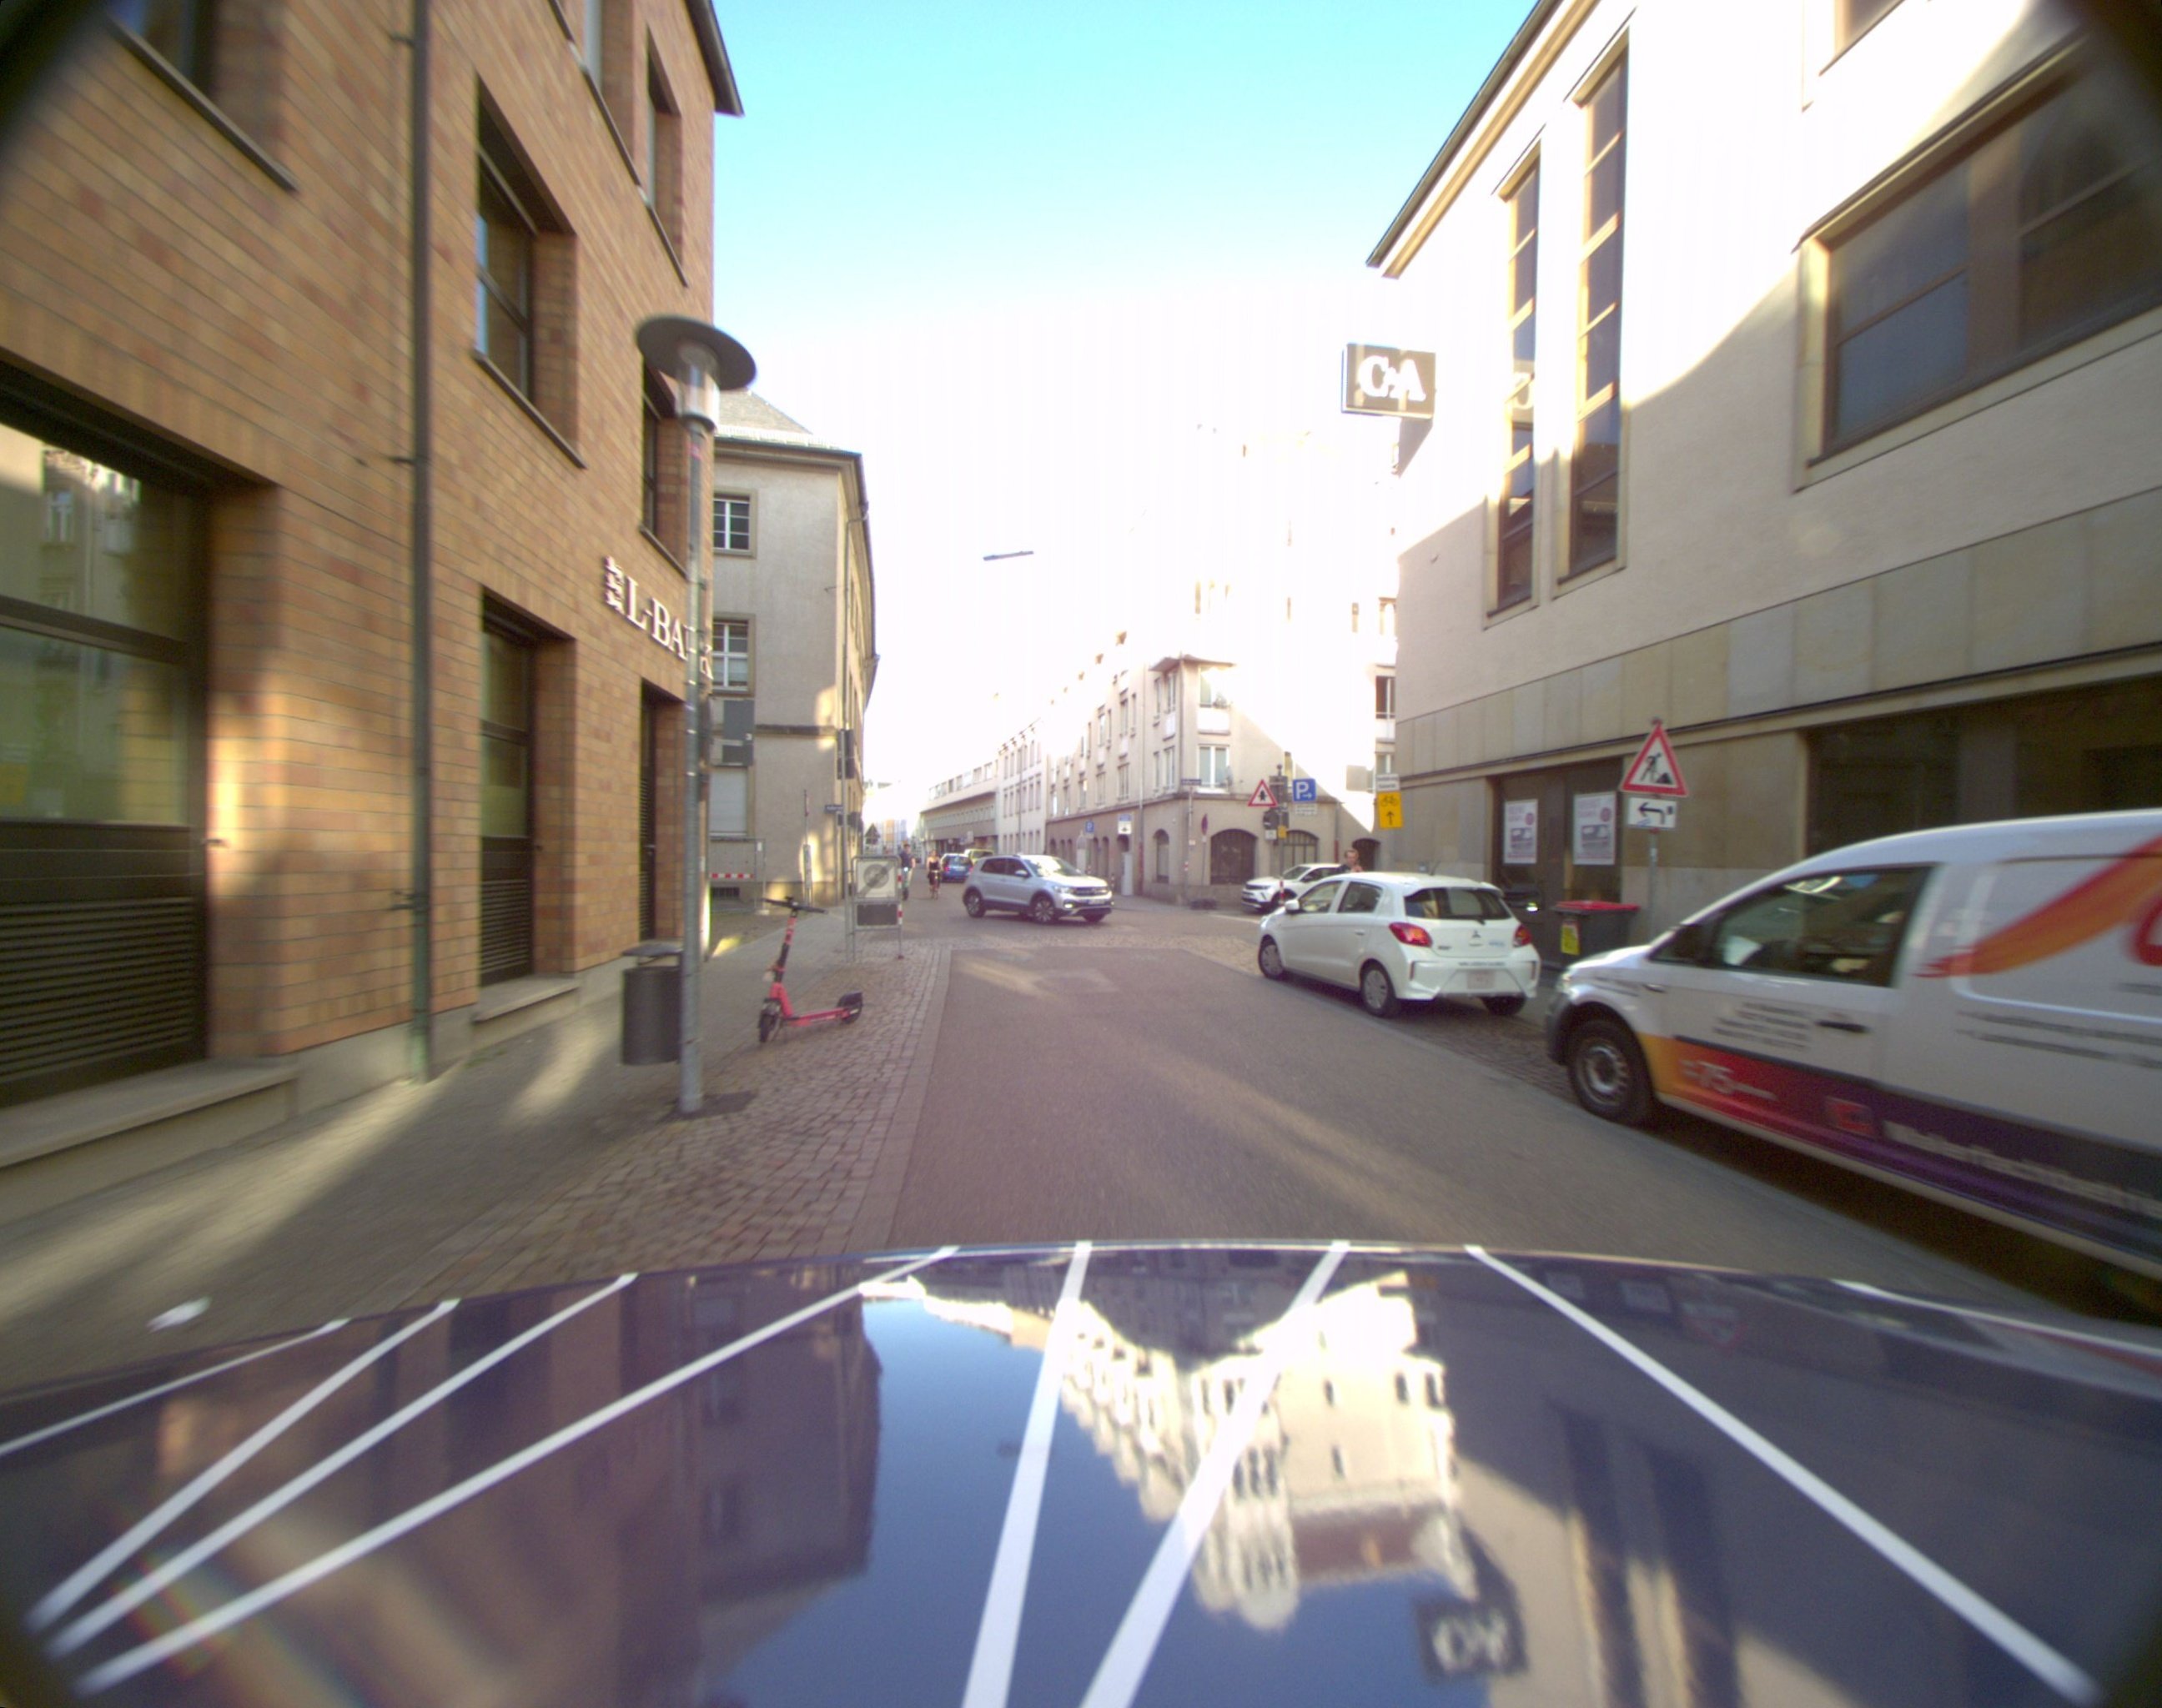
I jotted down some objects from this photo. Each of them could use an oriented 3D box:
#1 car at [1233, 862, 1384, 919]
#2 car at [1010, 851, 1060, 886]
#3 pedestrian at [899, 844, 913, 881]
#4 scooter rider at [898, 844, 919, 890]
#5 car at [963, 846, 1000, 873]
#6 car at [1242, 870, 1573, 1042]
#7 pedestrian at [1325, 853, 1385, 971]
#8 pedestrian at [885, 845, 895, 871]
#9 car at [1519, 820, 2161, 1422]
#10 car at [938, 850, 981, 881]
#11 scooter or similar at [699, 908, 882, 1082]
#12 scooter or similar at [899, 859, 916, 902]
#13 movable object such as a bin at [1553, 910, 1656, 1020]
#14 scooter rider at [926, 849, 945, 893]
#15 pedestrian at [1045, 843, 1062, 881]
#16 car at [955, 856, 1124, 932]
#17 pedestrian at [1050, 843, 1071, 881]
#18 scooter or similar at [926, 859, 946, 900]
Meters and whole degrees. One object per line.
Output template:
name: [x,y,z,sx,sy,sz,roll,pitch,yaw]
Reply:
car: [6.789,1.077,22.924,3.969,1.584,1.742,1,1,-7]
car: [-2.423,0.701,38.950,1.890,1.694,3.995,1,0,-13]
pedestrian: [-9.700,0.471,42.109,0.716,2.002,0.698,1,1,-16]
scooter rider: [-5.973,0.441,26.329,0.648,1.585,0.599,-2,2,-15]
car: [-7.184,0.349,54.504,1.891,1.863,3.993,-1,1,-18]
car: [3.520,1.016,9.063,1.743,1.483,3.795,2,0,-11]
pedestrian: [4.520,0.922,12.575,0.715,1.844,0.862,2,2,10]
pedestrian: [-14.776,0.303,58.653,0.716,2.002,0.698,1,1,-16]
car: [4.221,0.835,2.986,1.905,1.847,4.731,1,0,-6]
car: [-6.718,0.658,41.619,1.858,1.583,3.801,1,-1,-16]
scooter or similar: [-2.454,1.134,6.558,0.537,1.228,1.422,0,0,33]
scooter or similar: [-5.971,0.896,26.111,0.524,1.388,1.553,1,1,-15]
movable object such as a bin: [5.789,1.203,8.427,0.739,1.094,0.590,-2,2,-10]
scooter rider: [-5.137,0.600,26.767,0.592,1.500,0.599,-2,2,-15]
pedestrian: [-1.472,0.406,40.398,0.716,2.002,0.698,1,1,-16]
car: [-1.076,0.851,18.061,3.988,1.537,1.768,1,1,45]
pedestrian: [-1.101,0.429,40.859,0.938,2.002,0.698,1,1,-16]
scooter or similar: [-5.094,0.872,26.682,0.551,1.388,1.553,1,1,-15]
